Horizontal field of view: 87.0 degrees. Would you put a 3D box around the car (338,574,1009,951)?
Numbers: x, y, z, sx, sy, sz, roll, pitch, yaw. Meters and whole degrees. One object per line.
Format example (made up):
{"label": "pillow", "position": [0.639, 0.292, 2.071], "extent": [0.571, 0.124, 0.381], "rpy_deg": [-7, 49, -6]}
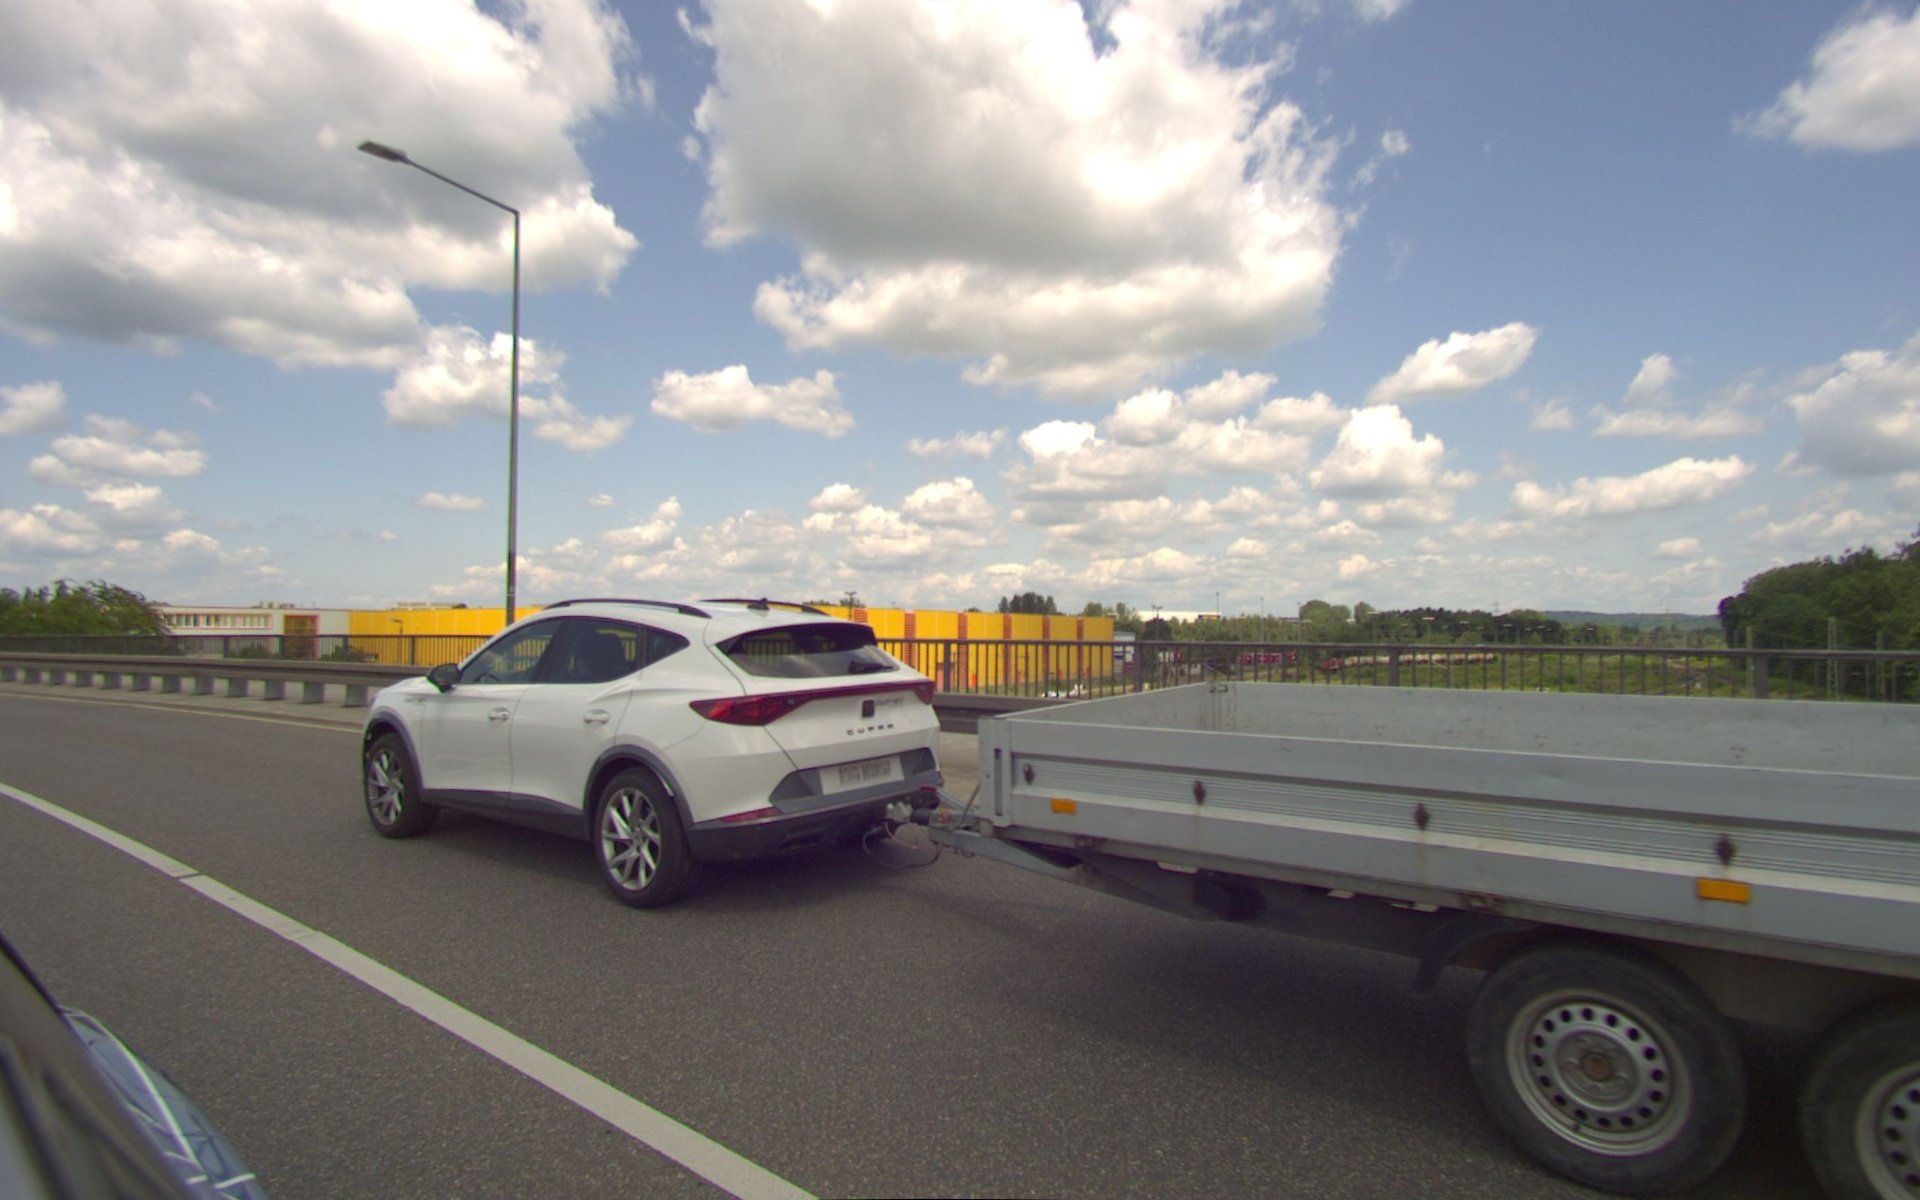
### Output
{"label": "car", "position": [-1.986, 0.704, 6.223], "extent": [4.344, 1.546, 1.789], "rpy_deg": [-2, -1, 39]}

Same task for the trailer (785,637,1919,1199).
{"label": "trailer", "position": [2.267, 0.758, 2.881], "extent": [5.976, 1.218, 2.025], "rpy_deg": [-2, -1, 39]}
